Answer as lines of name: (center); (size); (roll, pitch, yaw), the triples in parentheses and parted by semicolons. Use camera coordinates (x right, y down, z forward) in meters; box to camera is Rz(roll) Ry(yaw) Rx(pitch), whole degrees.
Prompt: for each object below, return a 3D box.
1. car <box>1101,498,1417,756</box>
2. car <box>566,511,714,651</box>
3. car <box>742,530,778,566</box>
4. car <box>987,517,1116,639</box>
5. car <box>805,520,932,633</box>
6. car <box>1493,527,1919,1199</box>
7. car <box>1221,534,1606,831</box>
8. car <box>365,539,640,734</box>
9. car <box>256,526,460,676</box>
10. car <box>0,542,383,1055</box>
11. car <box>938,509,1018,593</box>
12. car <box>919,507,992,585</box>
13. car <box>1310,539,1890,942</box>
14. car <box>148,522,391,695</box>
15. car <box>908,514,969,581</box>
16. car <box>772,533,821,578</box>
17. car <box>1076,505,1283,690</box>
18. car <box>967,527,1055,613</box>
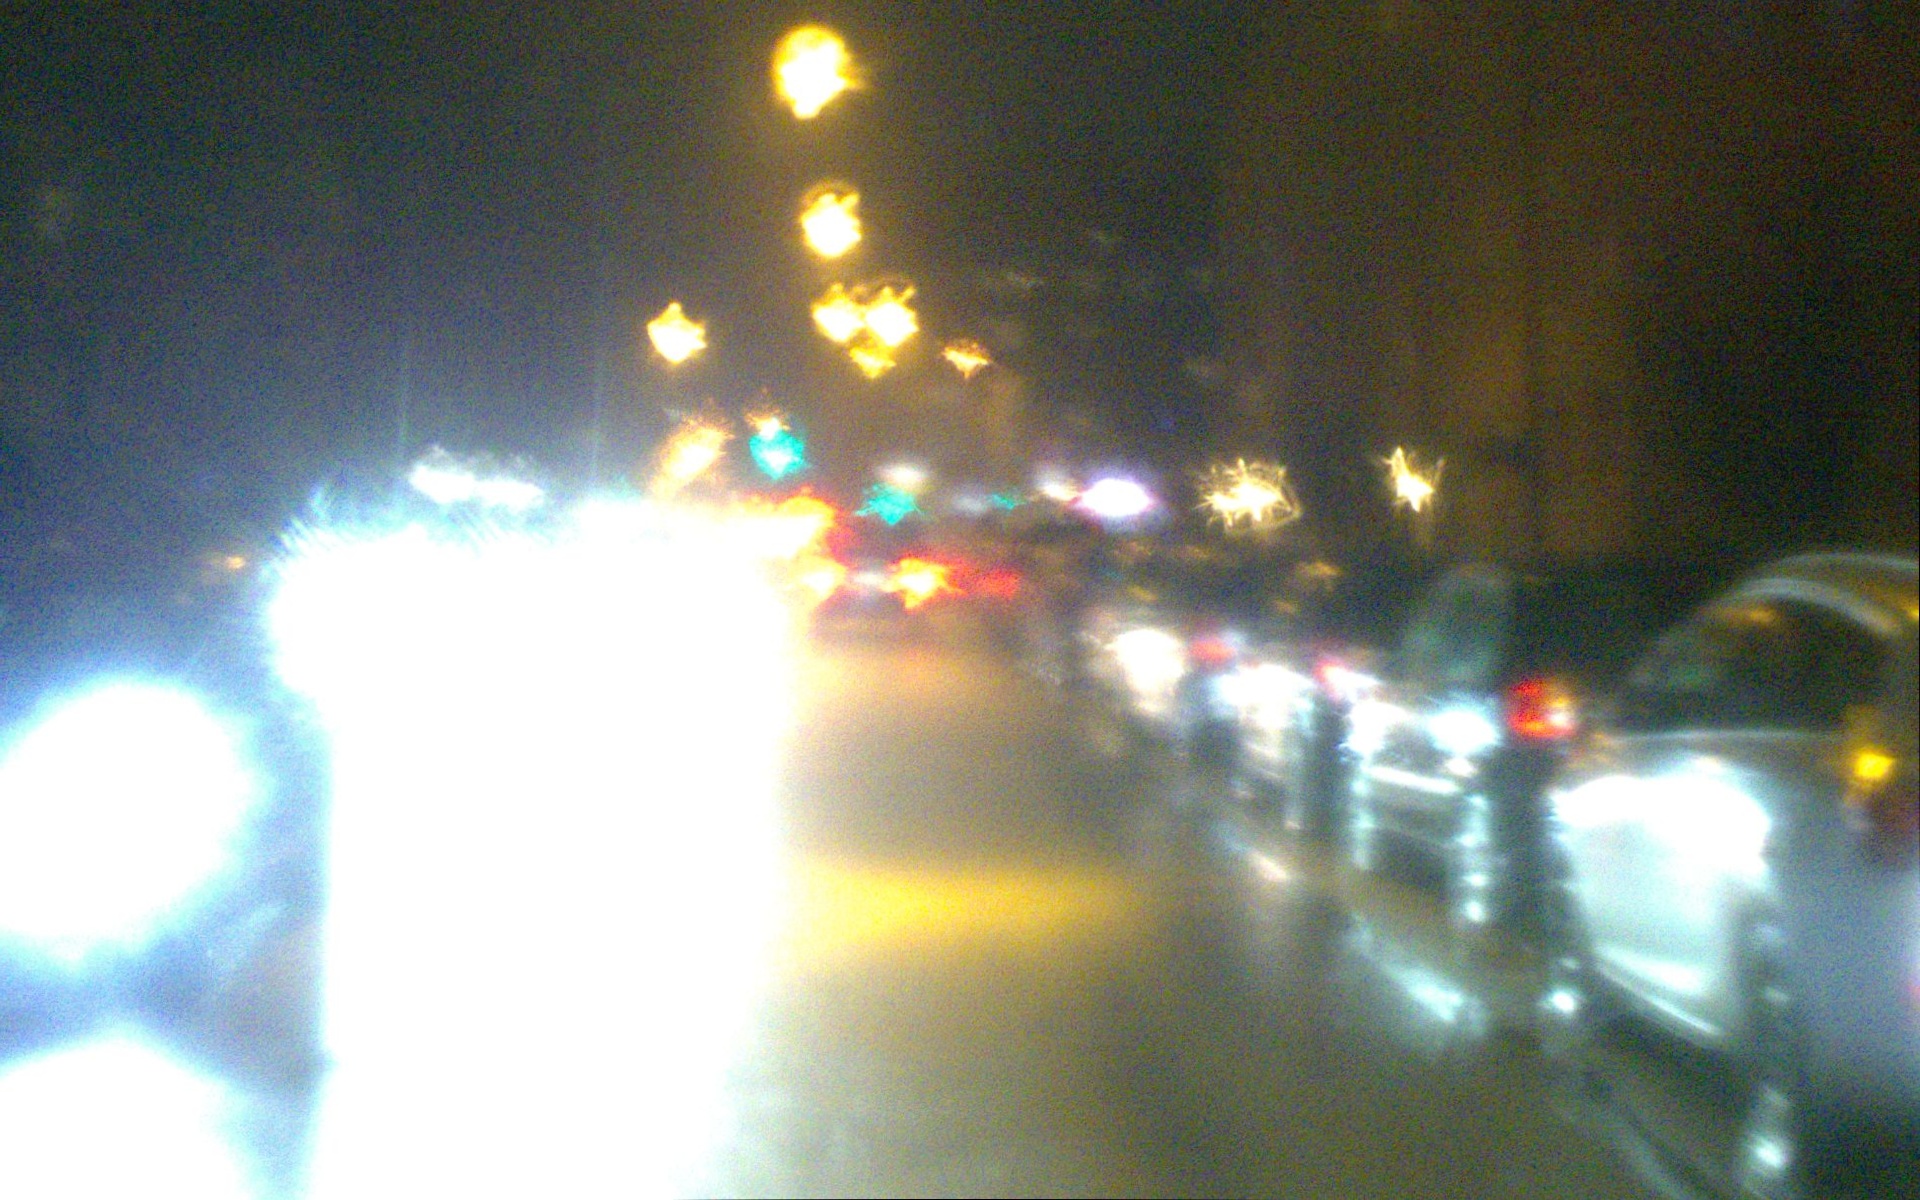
car: (2.108, 0.129, 25.284); (1.820, 1.668, 4.001); (-3, 2, -1)
car: (-4.240, -0.271, 46.019); (1.689, 1.779, 4.000); (0, 1, -1)
car: (-9.871, -2.575, 169.927); (1.535, 1.704, 3.804); (-3, 2, -1)
car: (1.245, -0.341, 48.007); (1.535, 1.556, 3.804); (-3, 2, -1)
car: (-1.482, -0.423, 56.534); (1.993, 1.678, 4.001); (-1, 3, -1)
car: (2.623, 0.576, 9.175); (1.628, 1.461, 4.510); (-3, 2, 0)
car: (2.407, 0.375, 19.022); (1.495, 1.383, 3.748); (-3, 2, -1)
car: (-3.747, 0.235, 28.880); (1.820, 1.458, 4.866); (0, 1, -2)
car: (-6.716, -0.033, 38.703); (1.575, 1.457, 4.001); (-5, 1, -2)
car: (-3.279, 0.540, 12.247); (1.857, 1.456, 4.524); (0, 1, -2)
car: (0.372, -1.082, 74.480); (1.535, 1.704, 3.804); (-3, 2, -1)
car: (-0.131, -1.268, 79.670); (1.535, 1.704, 3.804); (-3, 2, -1)
car: (2.553, 0.483, 14.561); (1.603, 1.383, 3.793); (-3, 1, -1)
car: (-6.758, 0.035, 33.992); (1.575, 1.457, 4.001); (-5, 1, -2)
car: (-0.601, -1.452, 93.448); (1.535, 1.704, 3.804); (-3, 2, -1)
car: (-6.724, -1.838, 141.663); (1.812, 1.704, 3.804); (-3, 2, -1)
car: (1.993, -0.072, 32.131); (1.535, 1.556, 3.804); (-3, 2, -1)
car: (0.980, -0.618, 67.976); (1.535, 1.556, 3.804); (-3, 2, -1)
